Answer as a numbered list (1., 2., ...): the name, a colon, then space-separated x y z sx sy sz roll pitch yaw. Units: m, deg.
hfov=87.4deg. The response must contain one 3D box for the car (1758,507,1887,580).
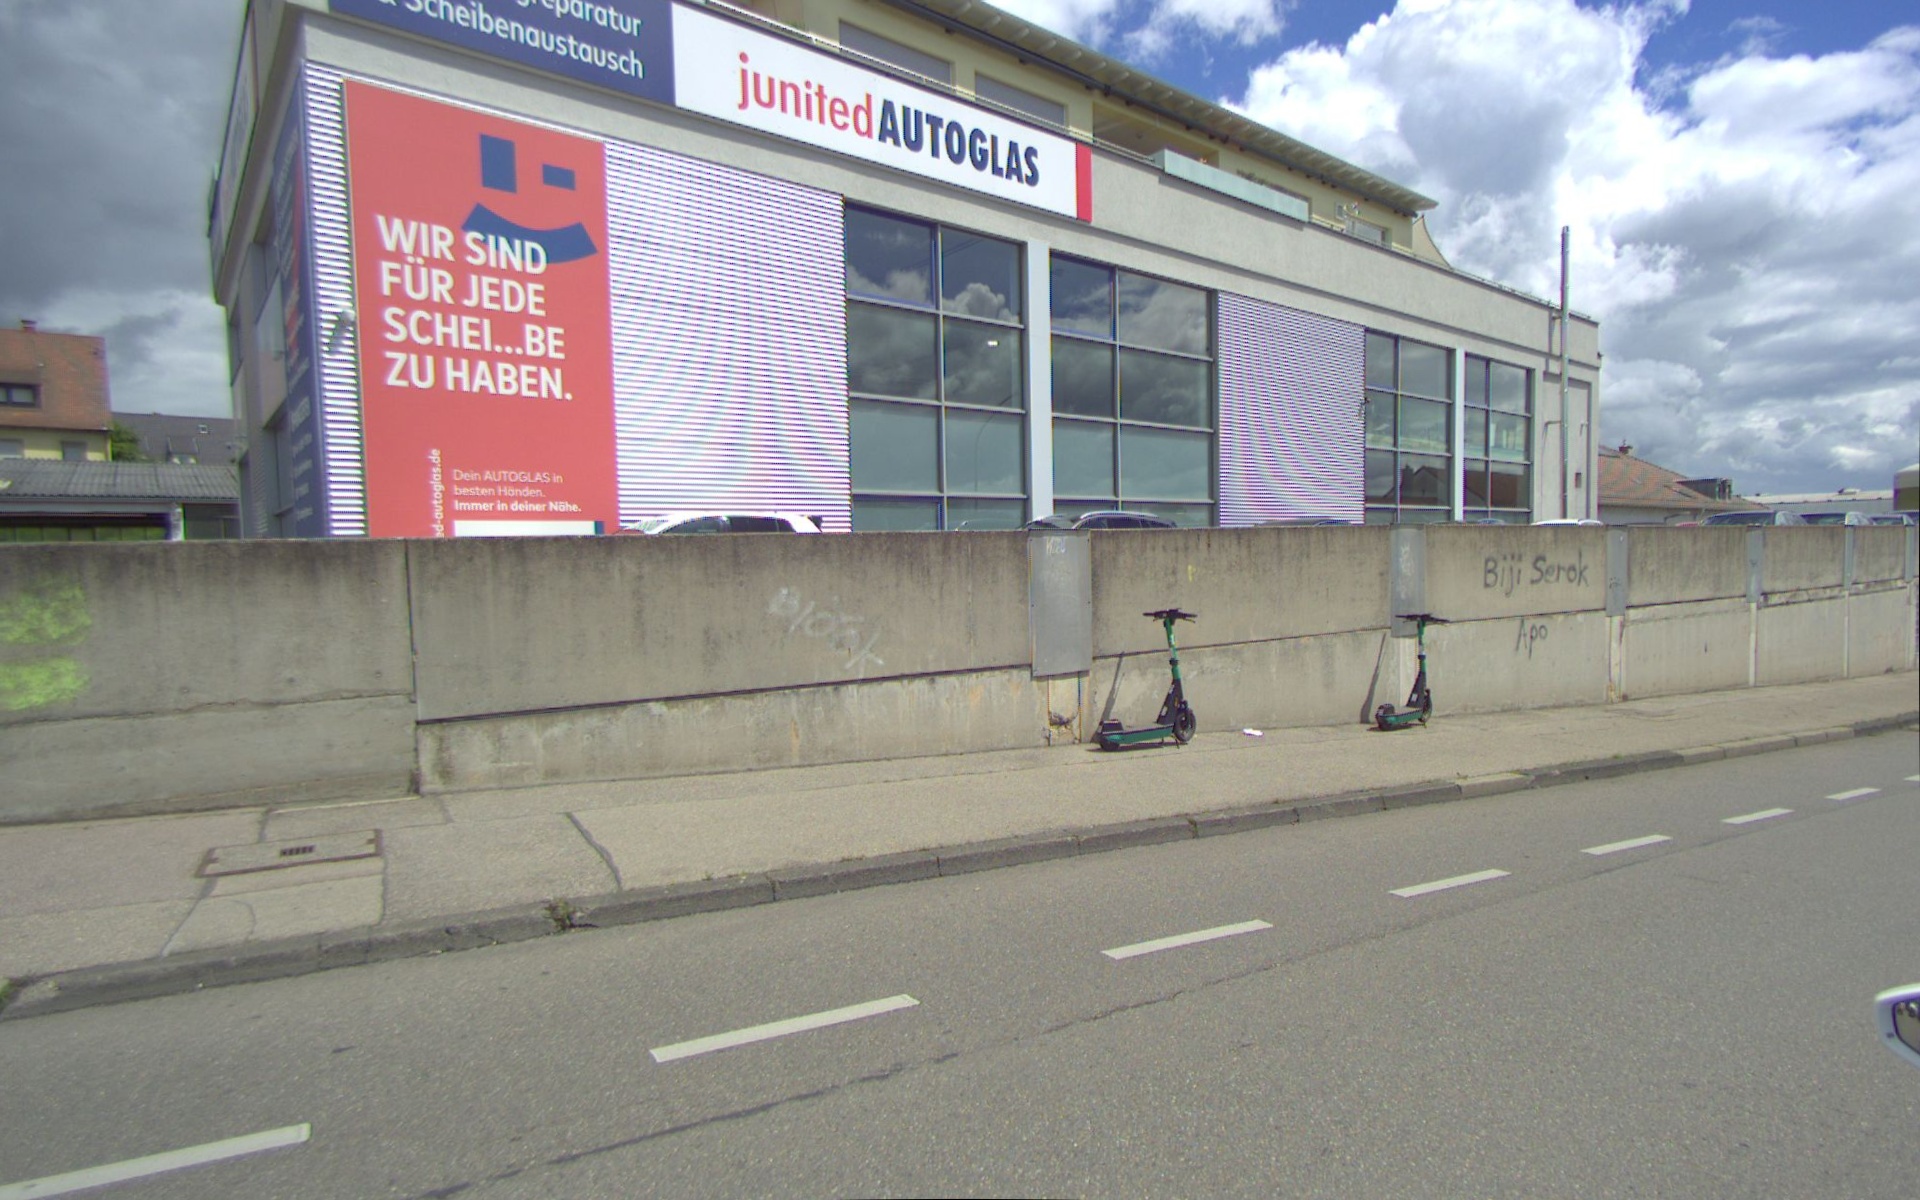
1. car: 22.677 -1.424 26.367 4.068 1.658 1.792 1 1 -38

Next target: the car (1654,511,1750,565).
1. car: 26.427 -2.144 35.726 4.078 1.658 1.791 1 1 -39

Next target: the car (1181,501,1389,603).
1. car: 6.151 -0.815 18.824 4.078 1.658 1.791 1 1 -39

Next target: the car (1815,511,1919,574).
1. car: 27.486 -1.672 30.277 4.068 1.658 1.792 1 1 -38

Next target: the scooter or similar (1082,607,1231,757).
1. scooter or similar: 1.828 0.726 9.310 1.290 1.293 0.554 1 1 -31

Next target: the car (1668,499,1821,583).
1. car: 17.945 -1.278 22.929 4.068 1.658 1.792 1 1 -38

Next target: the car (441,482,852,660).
1. car: -3.431 -0.260 11.387 4.078 1.658 1.791 1 1 -39

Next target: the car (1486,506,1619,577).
1. car: 16.048 -1.520 27.127 4.078 1.658 1.791 1 1 -39

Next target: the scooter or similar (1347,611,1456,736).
1. scooter or similar: 4.991 0.793 11.324 1.372 1.293 0.514 1 3 -41

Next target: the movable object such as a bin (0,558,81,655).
1. movable object such as a bin: -24.368 0.173 25.345 3.118 2.382 1.418 -3 3 -39

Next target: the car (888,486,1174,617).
1. car: 1.133 -0.615 14.796 4.078 1.658 1.791 1 1 -39
